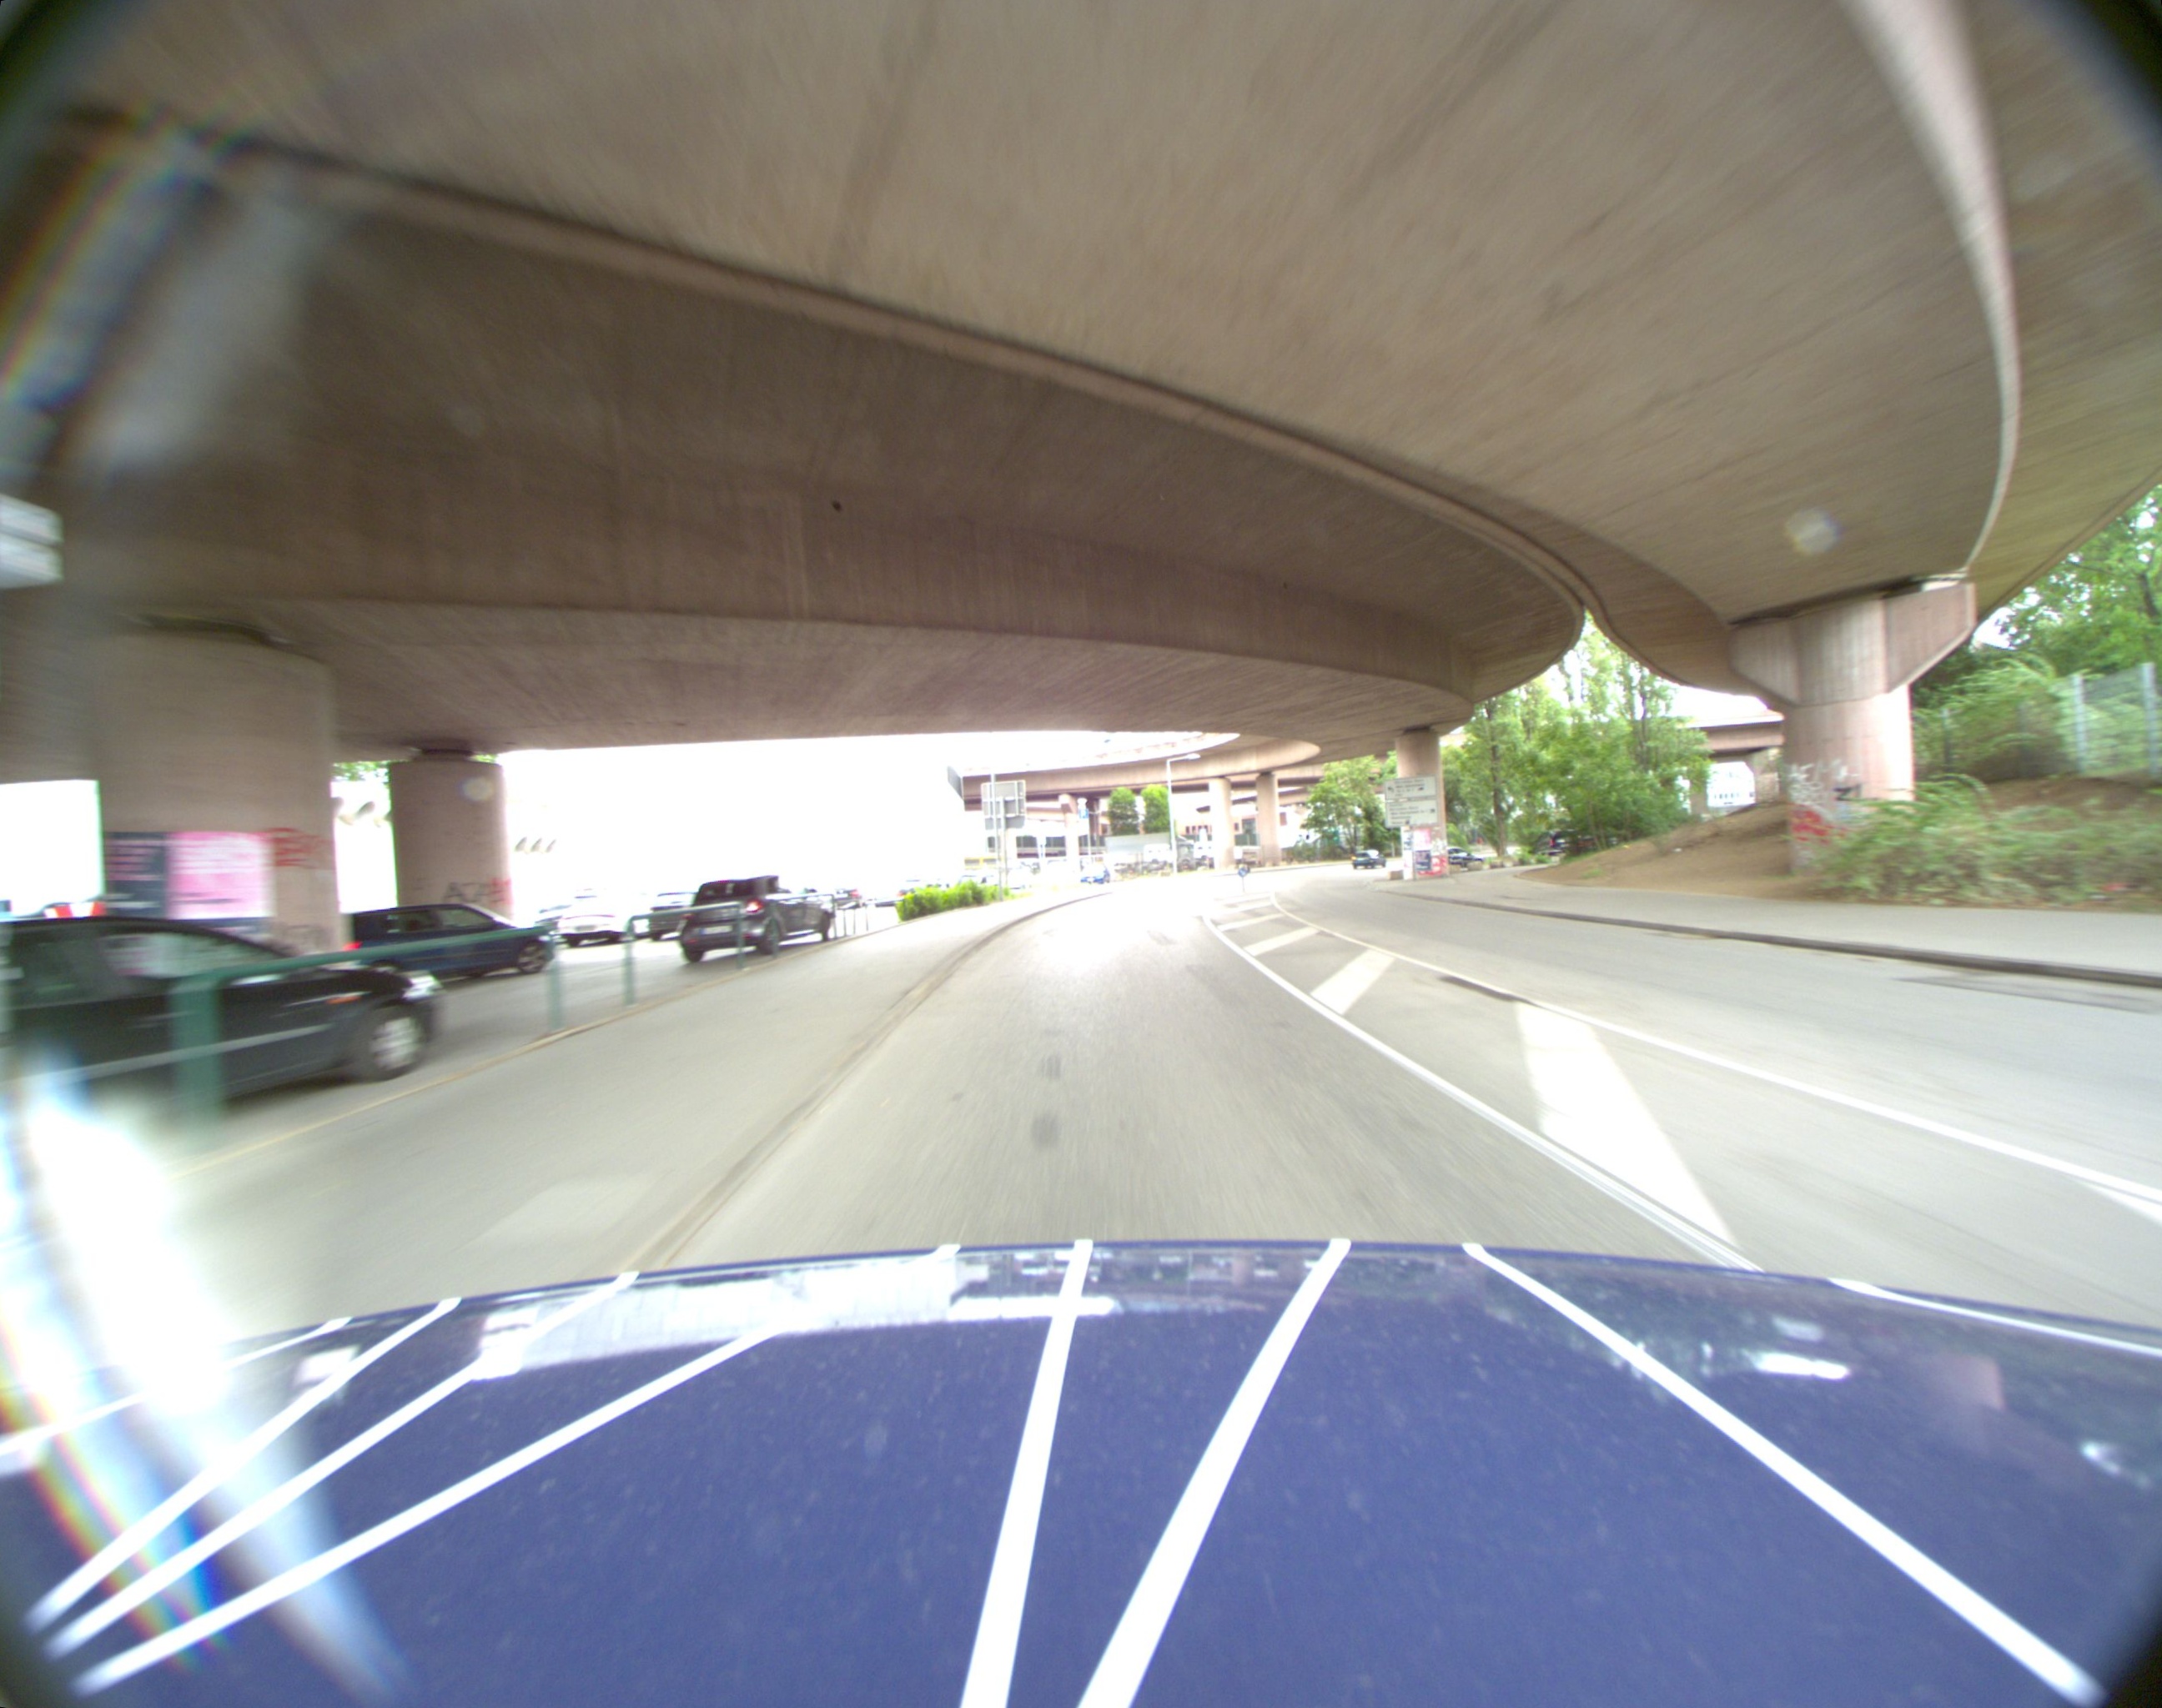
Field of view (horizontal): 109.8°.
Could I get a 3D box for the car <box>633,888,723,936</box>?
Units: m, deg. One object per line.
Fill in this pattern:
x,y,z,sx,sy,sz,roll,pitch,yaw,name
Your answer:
-15.909,2.225,30.247,1.756,1.547,4.085,-3,0,-7,car

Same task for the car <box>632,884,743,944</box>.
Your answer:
-12.858,1.907,25.120,1.838,1.583,4.189,-3,0,-7,car

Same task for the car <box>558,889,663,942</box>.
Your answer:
-18.373,2.352,29.949,1.756,1.681,4.429,-3,0,-7,car

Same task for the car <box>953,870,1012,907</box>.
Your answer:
-4.352,1.514,33.924,1.541,1.470,2.764,-3,0,16,car

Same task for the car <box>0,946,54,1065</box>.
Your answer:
-14.675,2.021,7.980,1.837,1.461,4.379,-5,0,-3,car

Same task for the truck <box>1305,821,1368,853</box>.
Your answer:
29.977,-2.028,89.272,6.408,3.389,2.270,-3,1,-2,truck

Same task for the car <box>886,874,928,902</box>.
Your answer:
-10.736,2.077,47.244,1.838,1.504,4.499,-3,0,-5,car

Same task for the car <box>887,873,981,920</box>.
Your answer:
-5.597,1.599,29.500,1.732,1.470,4.254,-3,0,16,car

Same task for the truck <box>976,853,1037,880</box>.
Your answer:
-8.943,1.502,91.605,6.926,2.915,3.050,-3,-1,-2,truck

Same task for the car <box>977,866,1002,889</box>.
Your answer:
-7.086,1.811,59.278,1.775,1.578,4.359,-3,0,-5,car

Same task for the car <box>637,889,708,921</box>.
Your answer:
-21.864,2.676,40.864,1.785,1.384,4.434,-3,0,-7,car

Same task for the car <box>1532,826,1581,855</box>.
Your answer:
35.017,-1.034,56.136,1.853,1.906,4.979,-3,1,18,car

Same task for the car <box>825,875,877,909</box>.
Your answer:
-12.488,2.014,41.550,1.858,1.618,4.618,-3,0,-7,car

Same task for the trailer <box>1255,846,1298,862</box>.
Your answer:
19.892,-0.002,77.224,4.388,1.324,1.602,-4,1,-31,trailer

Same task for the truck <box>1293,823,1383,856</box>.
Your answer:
31.291,-1.794,92.544,10.211,3.478,2.269,-3,1,-4,truck

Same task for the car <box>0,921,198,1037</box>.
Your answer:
-17.325,2.050,12.112,1.838,1.541,4.189,-3,0,-7,car

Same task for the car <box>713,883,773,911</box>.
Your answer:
-20.400,2.552,46.041,1.838,1.417,4.440,-3,0,-5,car

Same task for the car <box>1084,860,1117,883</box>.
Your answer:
1.570,1.346,60.790,1.773,1.625,4.689,-3,0,11,car

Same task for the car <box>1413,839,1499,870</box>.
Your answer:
21.183,0.025,42.858,4.780,1.421,1.825,-3,-2,-29,car

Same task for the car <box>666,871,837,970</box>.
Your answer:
-6.271,1.195,14.896,1.610,1.524,3.411,-5,0,3,car

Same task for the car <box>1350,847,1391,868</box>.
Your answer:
23.150,0.271,60.735,1.677,1.422,4.007,-3,0,41,car

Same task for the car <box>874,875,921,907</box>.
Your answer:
-10.025,1.999,41.784,1.858,1.466,4.684,-3,0,-7,car

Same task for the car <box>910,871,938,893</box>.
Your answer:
-11.940,2.125,58.064,1.623,1.535,3.097,-3,0,-4,car

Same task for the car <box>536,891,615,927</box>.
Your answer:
-26.408,2.826,39.863,1.769,1.524,3.974,-3,0,-7,car

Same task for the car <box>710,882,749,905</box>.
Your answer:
-25.952,2.876,56.209,1.497,1.451,4.061,-3,0,-10,car

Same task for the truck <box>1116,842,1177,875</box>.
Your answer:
6.402,0.416,73.951,2.452,2.869,6.130,-3,0,44,truck

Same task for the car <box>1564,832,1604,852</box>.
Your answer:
38.492,-0.966,58.222,1.562,1.372,3.709,-3,1,18,car

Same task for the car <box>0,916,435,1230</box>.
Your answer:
-6.251,1.268,4.481,1.610,1.389,3.580,-5,0,3,car

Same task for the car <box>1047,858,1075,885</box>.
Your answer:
-1.562,1.370,61.019,1.892,1.945,4.681,-3,0,2,car

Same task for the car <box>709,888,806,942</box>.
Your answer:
-10.741,1.970,25.552,1.838,1.413,4.189,-3,0,-7,car

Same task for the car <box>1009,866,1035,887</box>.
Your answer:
-4.578,1.754,59.288,1.774,1.448,4.554,-3,0,-2,car

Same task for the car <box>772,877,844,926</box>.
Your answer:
-10.969,1.872,30.872,1.745,1.665,4.467,-3,0,-7,car

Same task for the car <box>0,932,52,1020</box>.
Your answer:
-19.537,2.182,11.720,1.838,1.457,4.189,-3,0,-7,car

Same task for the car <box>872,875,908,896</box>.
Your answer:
-14.341,2.321,57.184,1.775,1.375,4.359,-3,0,-4,car

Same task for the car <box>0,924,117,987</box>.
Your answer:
-32.351,3.112,22.742,1.838,1.583,4.189,-3,0,-7,car

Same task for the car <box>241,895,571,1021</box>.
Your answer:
-11.493,1.693,13.340,1.788,1.498,3.862,-5,1,16,car

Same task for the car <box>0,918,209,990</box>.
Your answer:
-29.773,2.965,23.148,1.838,1.583,4.189,-3,0,-7,car

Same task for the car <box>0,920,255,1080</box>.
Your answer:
-12.410,1.735,9.070,1.530,1.491,3.373,-5,0,-7,car

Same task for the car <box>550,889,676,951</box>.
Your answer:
-15.089,2.059,24.793,1.838,1.583,4.189,-3,0,-7,car

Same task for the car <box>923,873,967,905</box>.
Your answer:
-7.535,1.905,42.421,1.858,1.466,4.685,-3,0,-5,car

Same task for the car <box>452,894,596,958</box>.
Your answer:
-17.585,2.204,24.263,1.838,1.583,4.189,-3,0,-7,car

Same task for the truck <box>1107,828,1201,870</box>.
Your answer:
8.423,-0.544,88.658,10.132,4.340,3.912,-3,-1,-5,truck

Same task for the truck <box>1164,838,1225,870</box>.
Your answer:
11.122,-0.059,73.758,2.418,2.727,7.249,-3,0,38,truck

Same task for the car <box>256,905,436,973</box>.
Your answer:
-22.683,2.568,23.720,1.838,1.583,4.189,-3,0,-7,car

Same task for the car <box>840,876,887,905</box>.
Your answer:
-13.423,2.218,47.149,1.838,1.504,4.499,-3,0,-5,car

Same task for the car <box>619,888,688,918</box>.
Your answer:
-25.423,2.881,45.396,1.838,1.417,4.440,-3,0,-5,car
